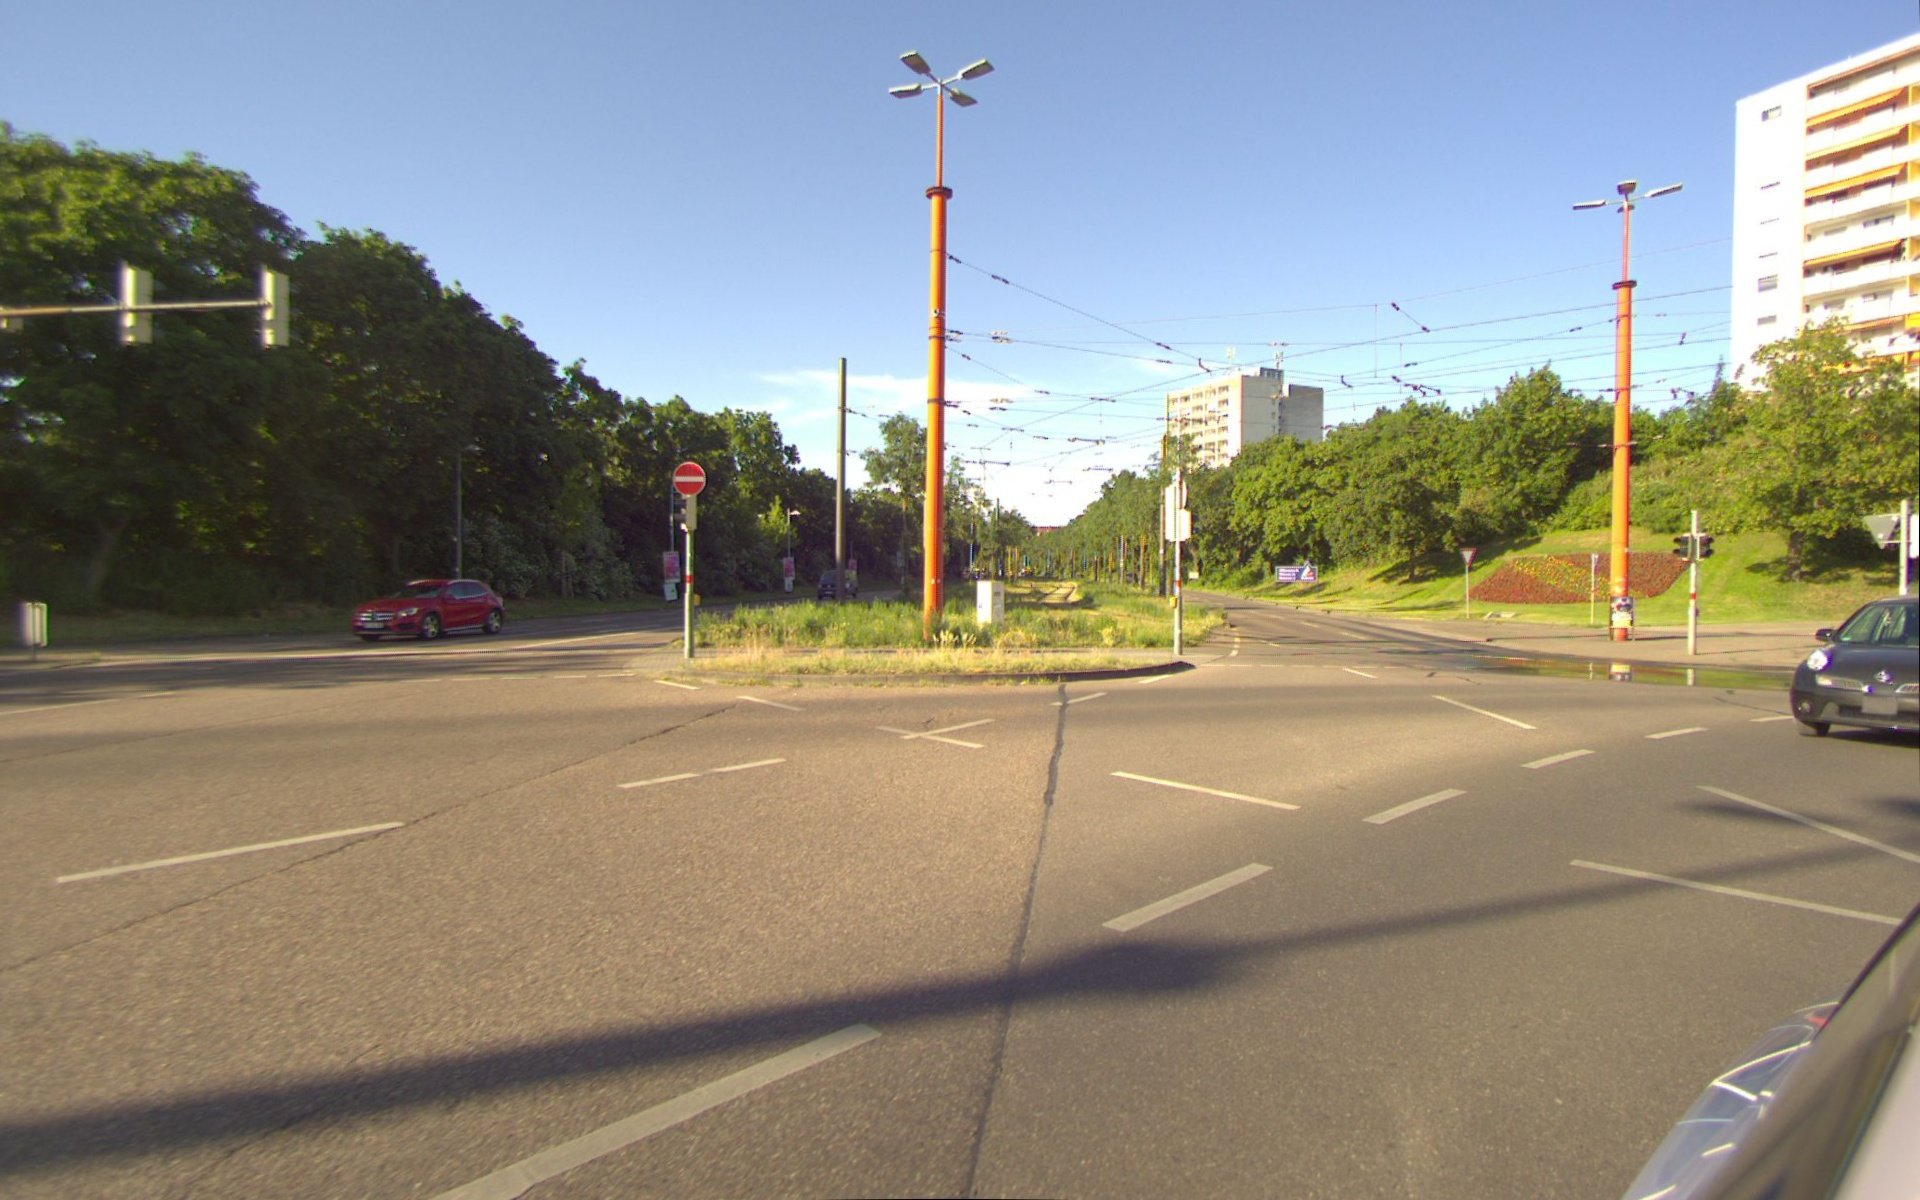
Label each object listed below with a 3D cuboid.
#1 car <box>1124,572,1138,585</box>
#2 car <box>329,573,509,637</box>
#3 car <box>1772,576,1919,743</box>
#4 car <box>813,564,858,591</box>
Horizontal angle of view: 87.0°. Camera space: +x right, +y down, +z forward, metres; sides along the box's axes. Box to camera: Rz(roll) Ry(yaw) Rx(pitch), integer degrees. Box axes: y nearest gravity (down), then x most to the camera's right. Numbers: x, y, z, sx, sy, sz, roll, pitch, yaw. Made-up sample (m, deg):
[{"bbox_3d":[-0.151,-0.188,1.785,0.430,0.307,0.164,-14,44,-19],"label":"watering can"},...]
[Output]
[{"bbox_3d":[23.599,-3.045,139.720,1.967,1.725,4.682,-1,1,9],"label":"car"},{"bbox_3d":[-13.713,0.059,25.981,1.966,1.513,4.282,0,2,7],"label":"car"},{"bbox_3d":[10.470,0.570,10.511,4.530,1.501,1.742,1,0,-31],"label":"car"},{"bbox_3d":[-8.367,-1.511,68.430,1.966,1.753,4.810,0,2,7],"label":"car"}]
